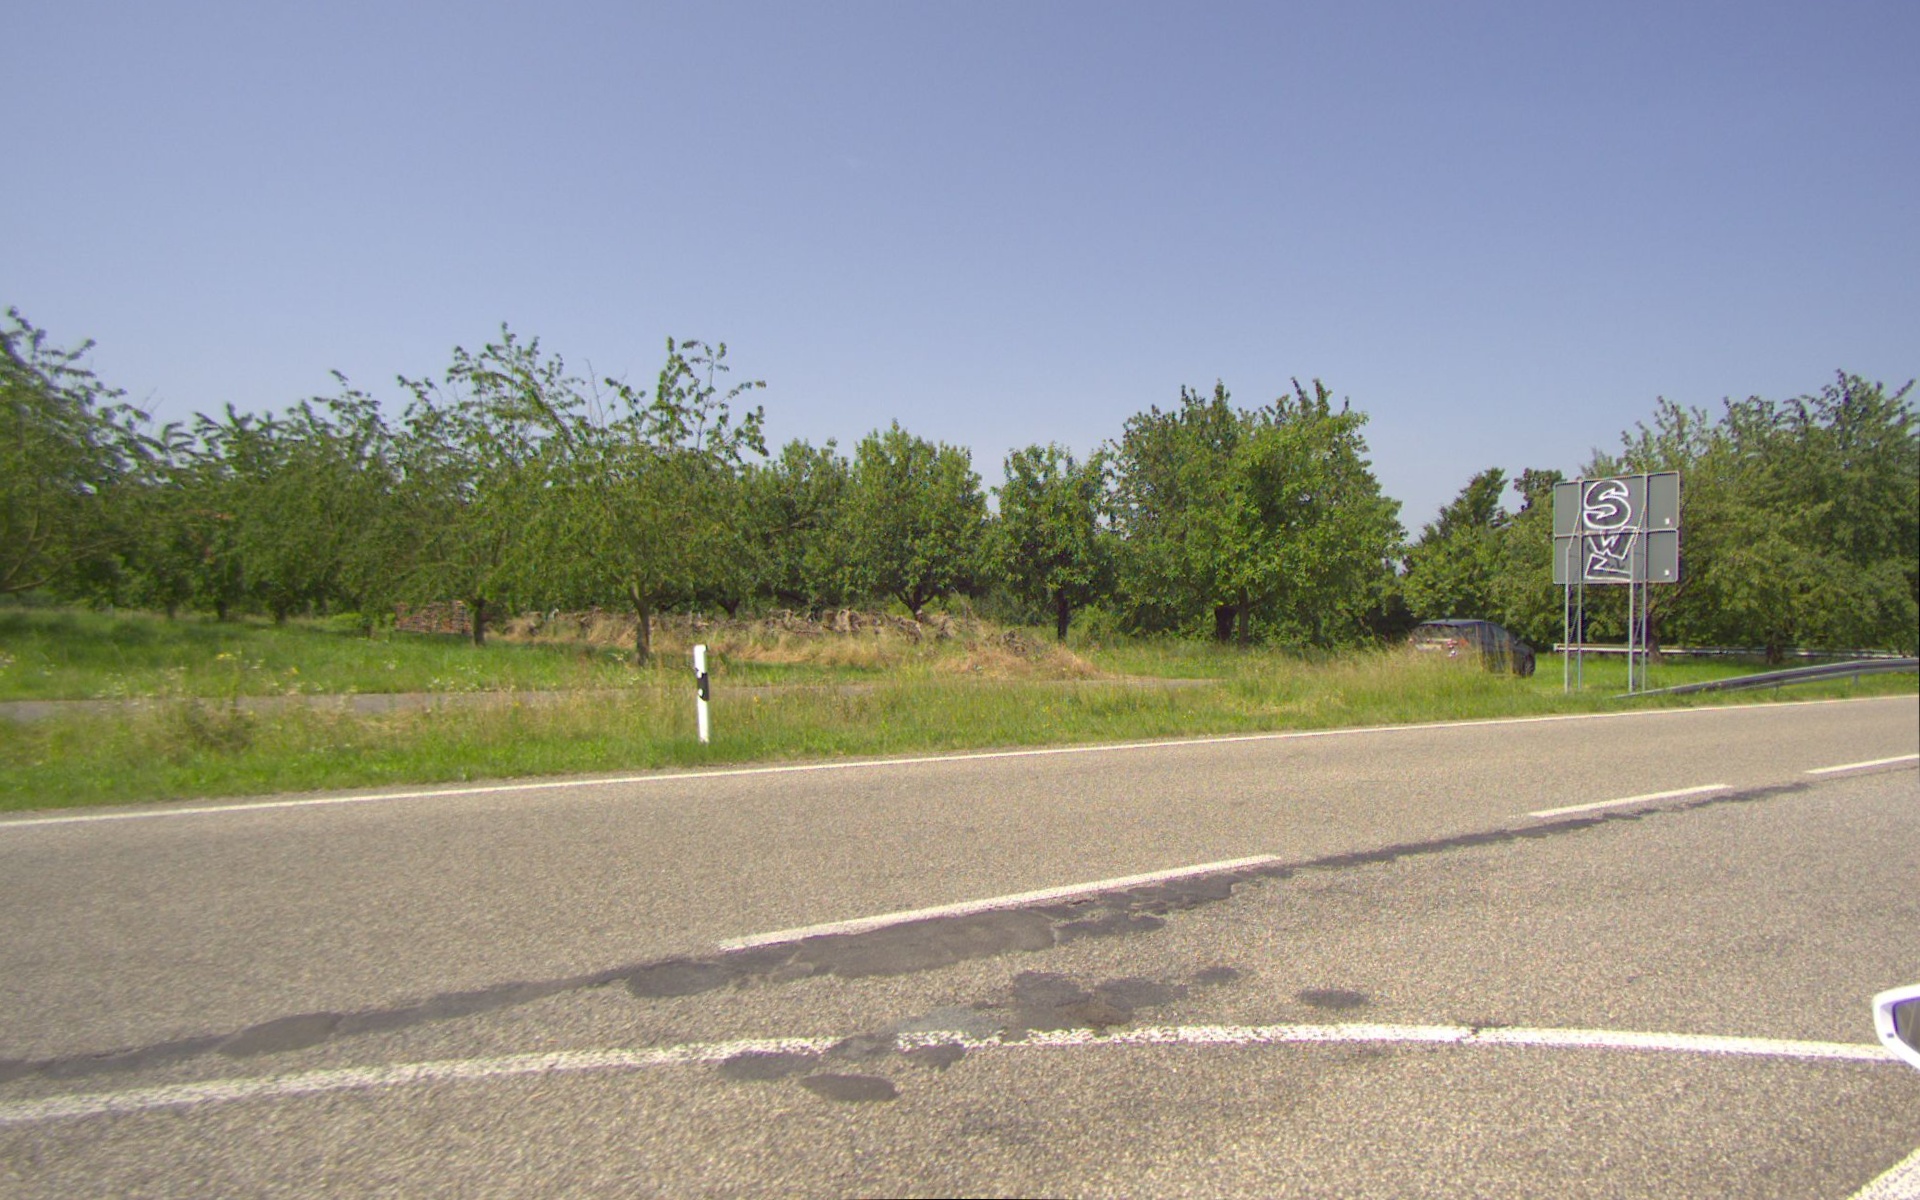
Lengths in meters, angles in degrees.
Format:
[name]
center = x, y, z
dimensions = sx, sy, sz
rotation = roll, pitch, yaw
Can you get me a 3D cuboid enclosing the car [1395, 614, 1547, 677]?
[car]
center = 12.699, 1.096, 24.891
dimensions = 4.003, 1.442, 1.693
rotation = 2, -1, -35
